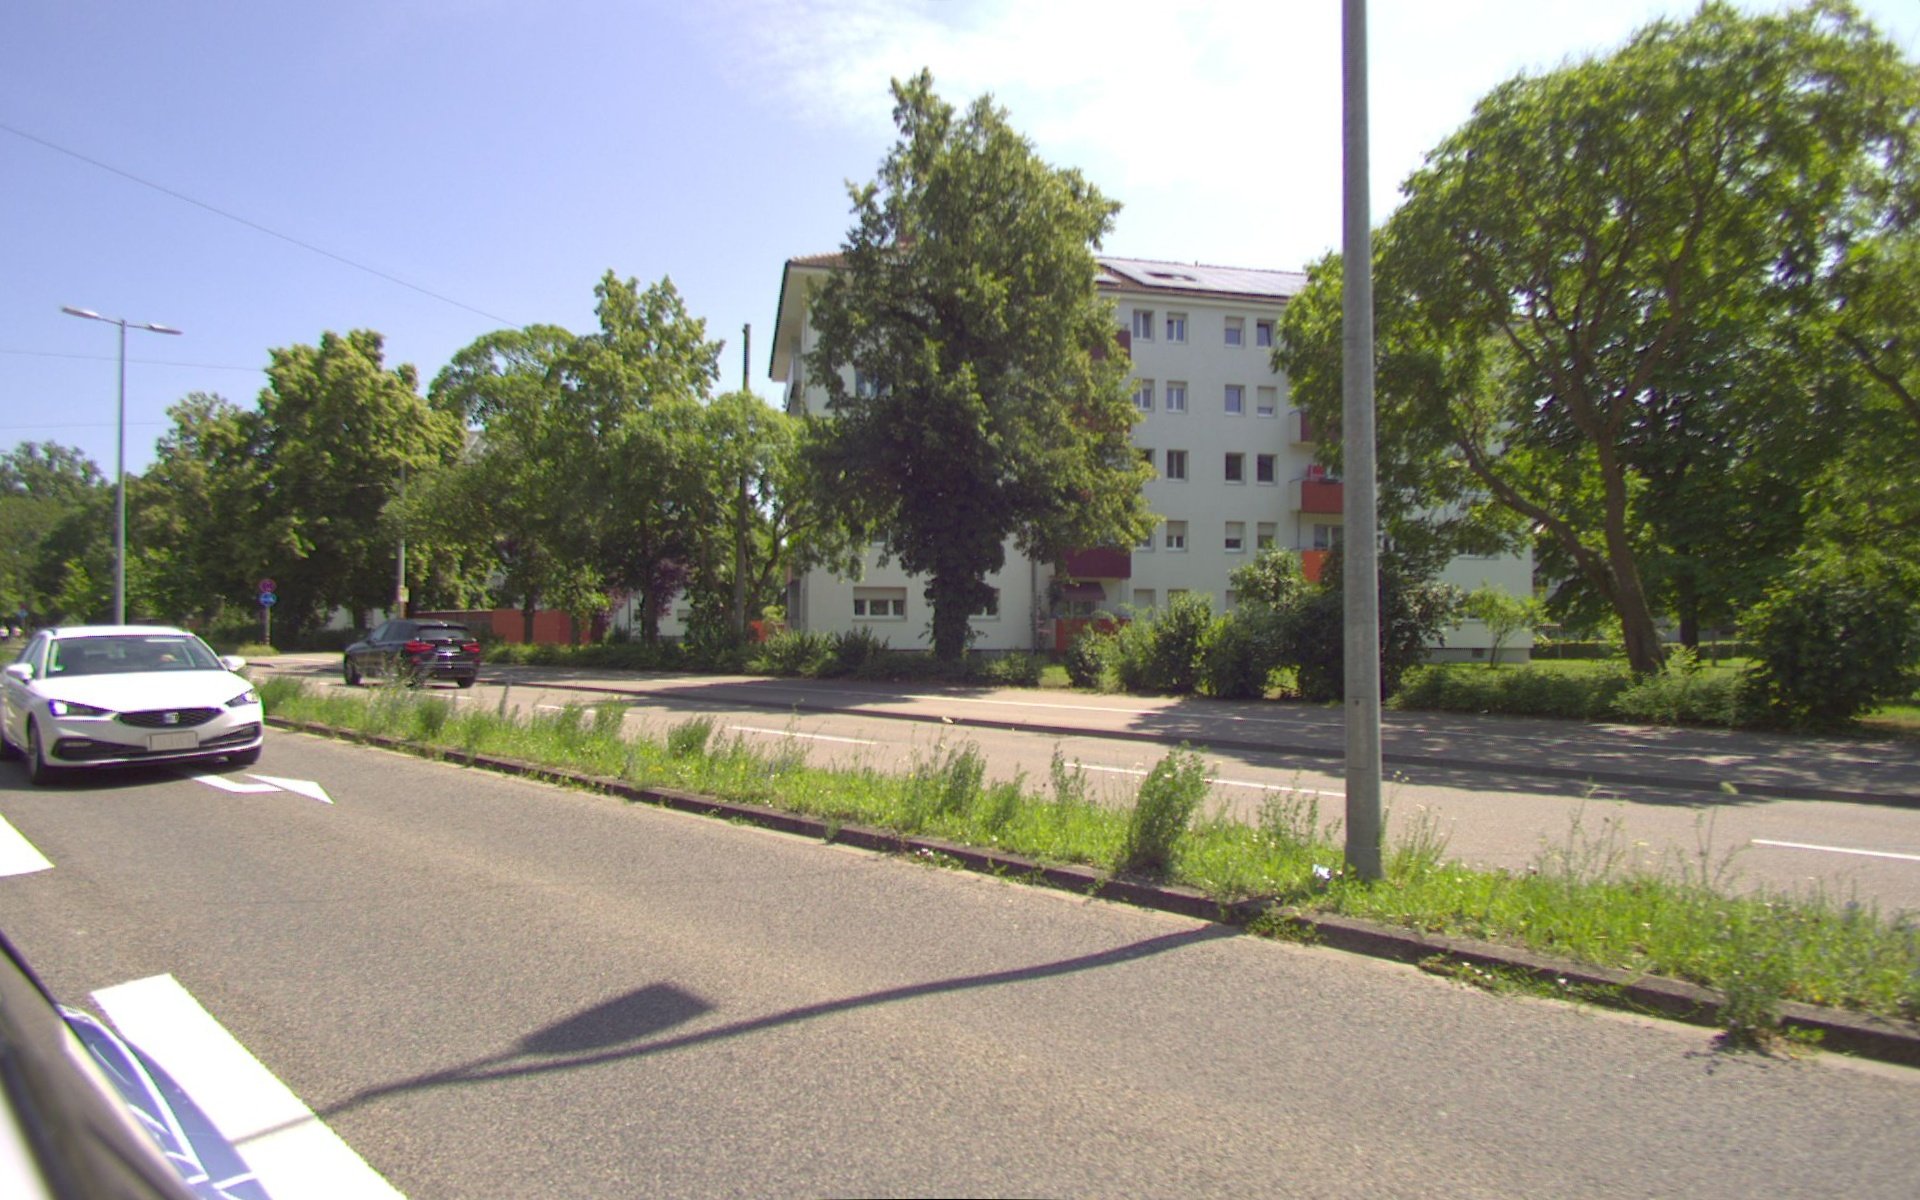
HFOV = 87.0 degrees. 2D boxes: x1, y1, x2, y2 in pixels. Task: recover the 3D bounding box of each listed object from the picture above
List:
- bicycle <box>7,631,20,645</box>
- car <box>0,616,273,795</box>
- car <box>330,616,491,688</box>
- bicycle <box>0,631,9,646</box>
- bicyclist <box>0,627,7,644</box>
[{"bbox_3d":[-76.246,3.073,81.539,1.378,1.103,0.548,0,0,39],"label":"bicycle"},{"bbox_3d":[-8.851,0.933,10.597,4.109,1.479,1.749,-1,0,41],"label":"car"},{"bbox_3d":[-13.850,1.257,25.416,4.752,1.638,1.903,-1,-3,40],"label":"car"},{"bbox_3d":[-76.566,3.076,80.868,1.613,1.142,0.582,-1,-2,38],"label":"bicycle"},{"bbox_3d":[-76.937,2.861,81.182,0.754,1.356,0.540,-1,-2,37],"label":"bicyclist"}]
